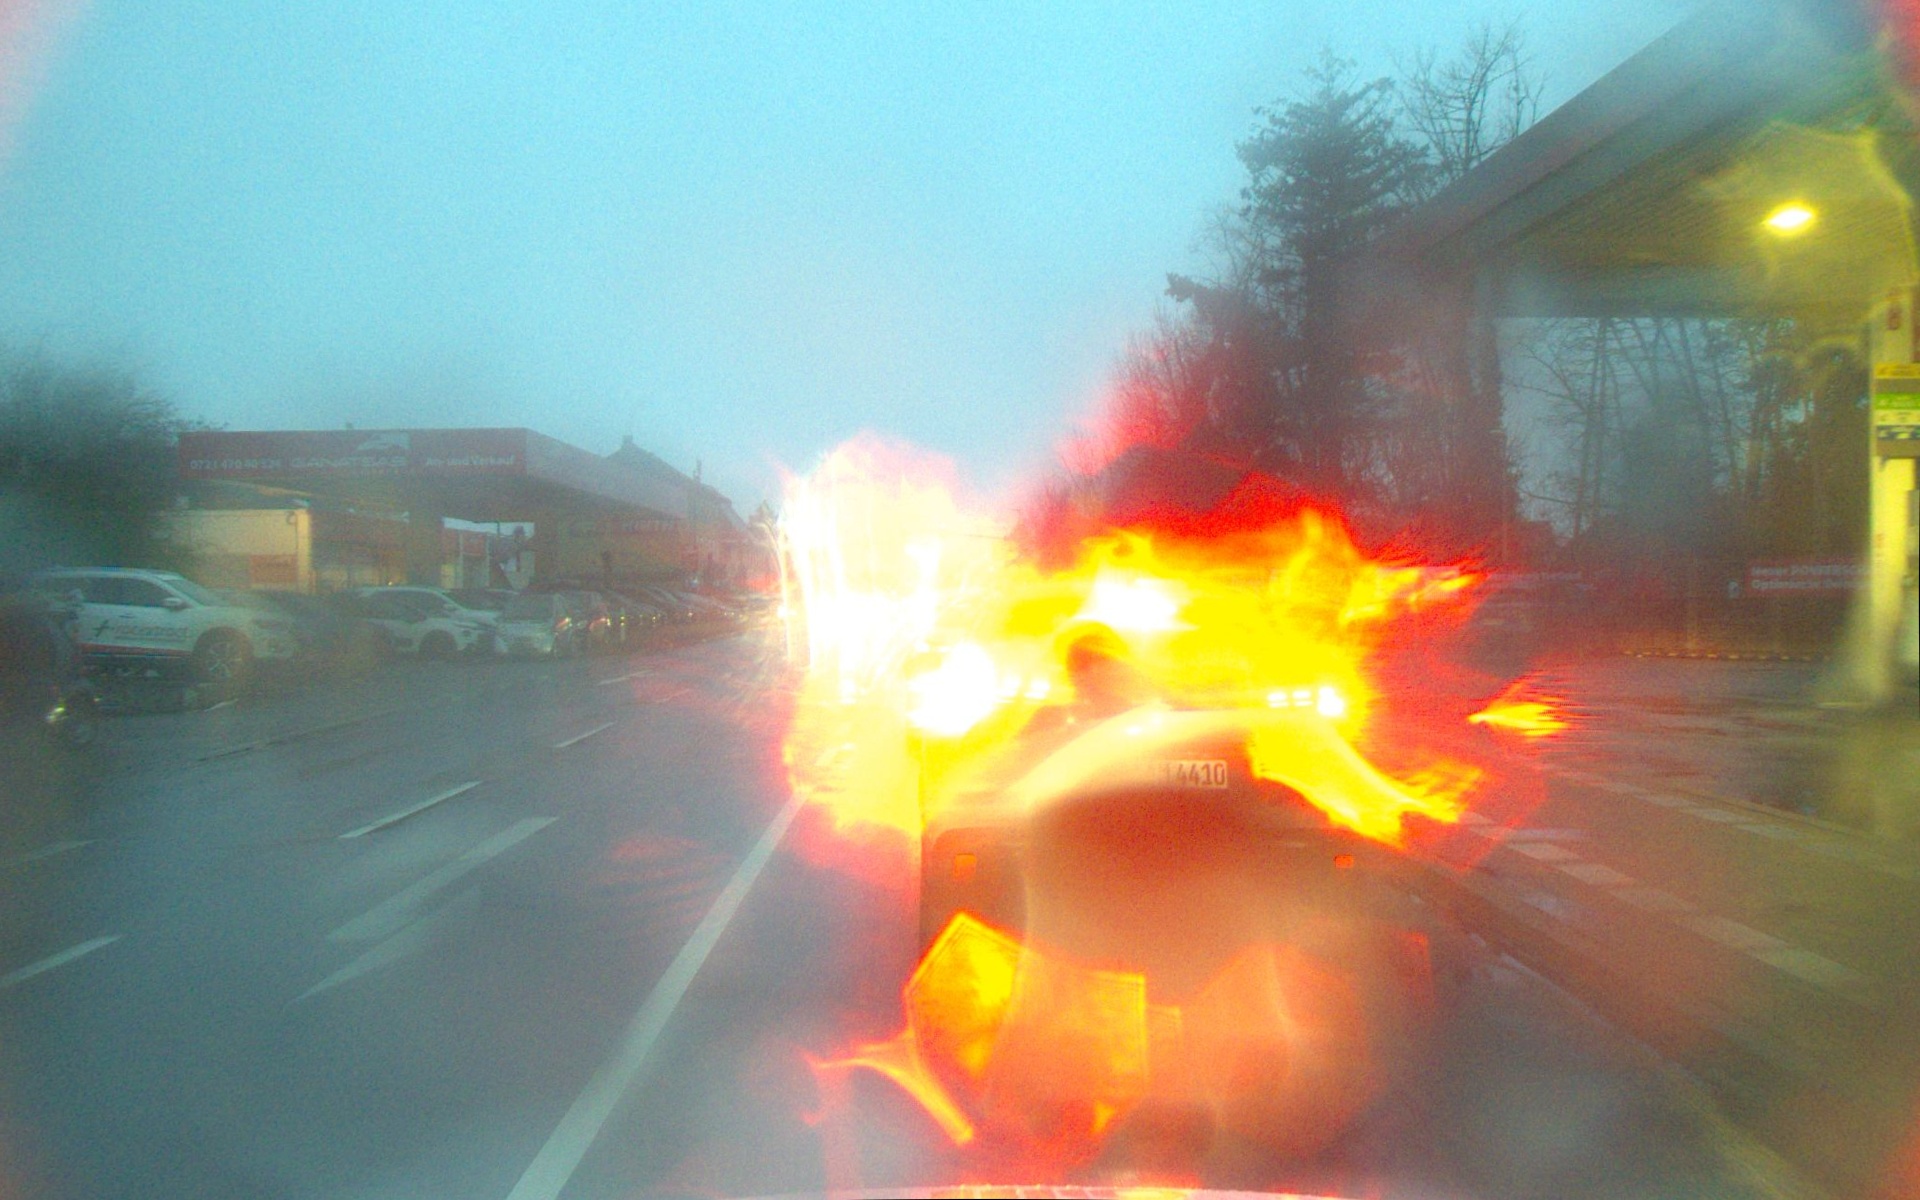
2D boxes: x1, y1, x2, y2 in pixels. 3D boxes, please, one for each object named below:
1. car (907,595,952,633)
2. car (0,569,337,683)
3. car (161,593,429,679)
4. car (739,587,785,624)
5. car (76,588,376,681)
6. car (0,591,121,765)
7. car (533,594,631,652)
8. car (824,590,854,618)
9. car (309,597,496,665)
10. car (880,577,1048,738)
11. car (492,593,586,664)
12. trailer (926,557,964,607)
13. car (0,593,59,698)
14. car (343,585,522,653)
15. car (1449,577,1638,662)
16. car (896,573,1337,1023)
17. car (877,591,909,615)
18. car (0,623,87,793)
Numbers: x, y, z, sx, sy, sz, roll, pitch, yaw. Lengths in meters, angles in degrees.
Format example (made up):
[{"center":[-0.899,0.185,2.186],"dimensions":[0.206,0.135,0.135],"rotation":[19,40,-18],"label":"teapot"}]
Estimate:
[{"center":[-1.127,0.489,61.285],"dimensions":[1.620,1.359,4.271],"rotation":[0,0,-1],"label":"car"},{"center":[-12.346,0.377,25.916],"dimensions":[4.446,1.706,2.008],"rotation":[0,0,-6],"label":"car"},{"center":[-12.337,0.650,30.886],"dimensions":[4.247,1.524,1.825],"rotation":[0,0,-1],"label":"car"},{"center":[-10.418,0.258,87.312],"dimensions":[1.931,1.862,4.511],"rotation":[-2,0,-1],"label":"car"},{"center":[-12.517,0.570,28.399],"dimensions":[4.246,1.524,1.995],"rotation":[0,0,1],"label":"car"},{"center":[-9.875,0.776,16.603],"dimensions":[1.147,1.673,2.872],"rotation":[-1,1,7],"label":"car"},{"center":[-9.889,0.570,43.499],"dimensions":[1.648,1.445,3.741],"rotation":[-1,0,1],"label":"car"},{"center":[-7.275,0.237,99.717],"dimensions":[1.571,1.561,3.999],"rotation":[-2,0,-2],"label":"car"},{"center":[-12.755,0.703,38.012],"dimensions":[3.697,1.485,1.775],"rotation":[1,0,-4],"label":"car"},{"center":[0.017,0.559,18.872],"dimensions":[1.673,1.603,4.463],"rotation":[-1,0,-1],"label":"car"},{"center":[-9.972,0.649,39.340],"dimensions":[1.487,1.570,3.014],"rotation":[-2,0,-2],"label":"car"},{"center":[-1.111,-1.204,114.515],"dimensions":[2.438,3.297,10.864],"rotation":[0,0,-2],"label":"trailer"},{"center":[-16.487,0.749,27.035],"dimensions":[1.636,1.706,3.704],"rotation":[-1,0,-3],"label":"car"},{"center":[-13.618,0.473,42.847],"dimensions":[3.964,1.679,1.942],"rotation":[-1,0,0],"label":"car"},{"center":[12.121,0.360,34.226],"dimensions":[1.986,1.636,4.451],"rotation":[0,0,45],"label":"car"},{"center":[0.521,0.677,7.751],"dimensions":[1.533,1.556,4.006],"rotation":[0,0,-1],"label":"car"},{"center":[-4.598,0.208,112.980],"dimensions":[2.007,1.600,4.699],"rotation":[-2,0,-4],"label":"car"},{"center":[-8.332,0.866,12.346],"dimensions":[1.539,1.345,4.253],"rotation":[-2,-1,-3],"label":"car"}]
